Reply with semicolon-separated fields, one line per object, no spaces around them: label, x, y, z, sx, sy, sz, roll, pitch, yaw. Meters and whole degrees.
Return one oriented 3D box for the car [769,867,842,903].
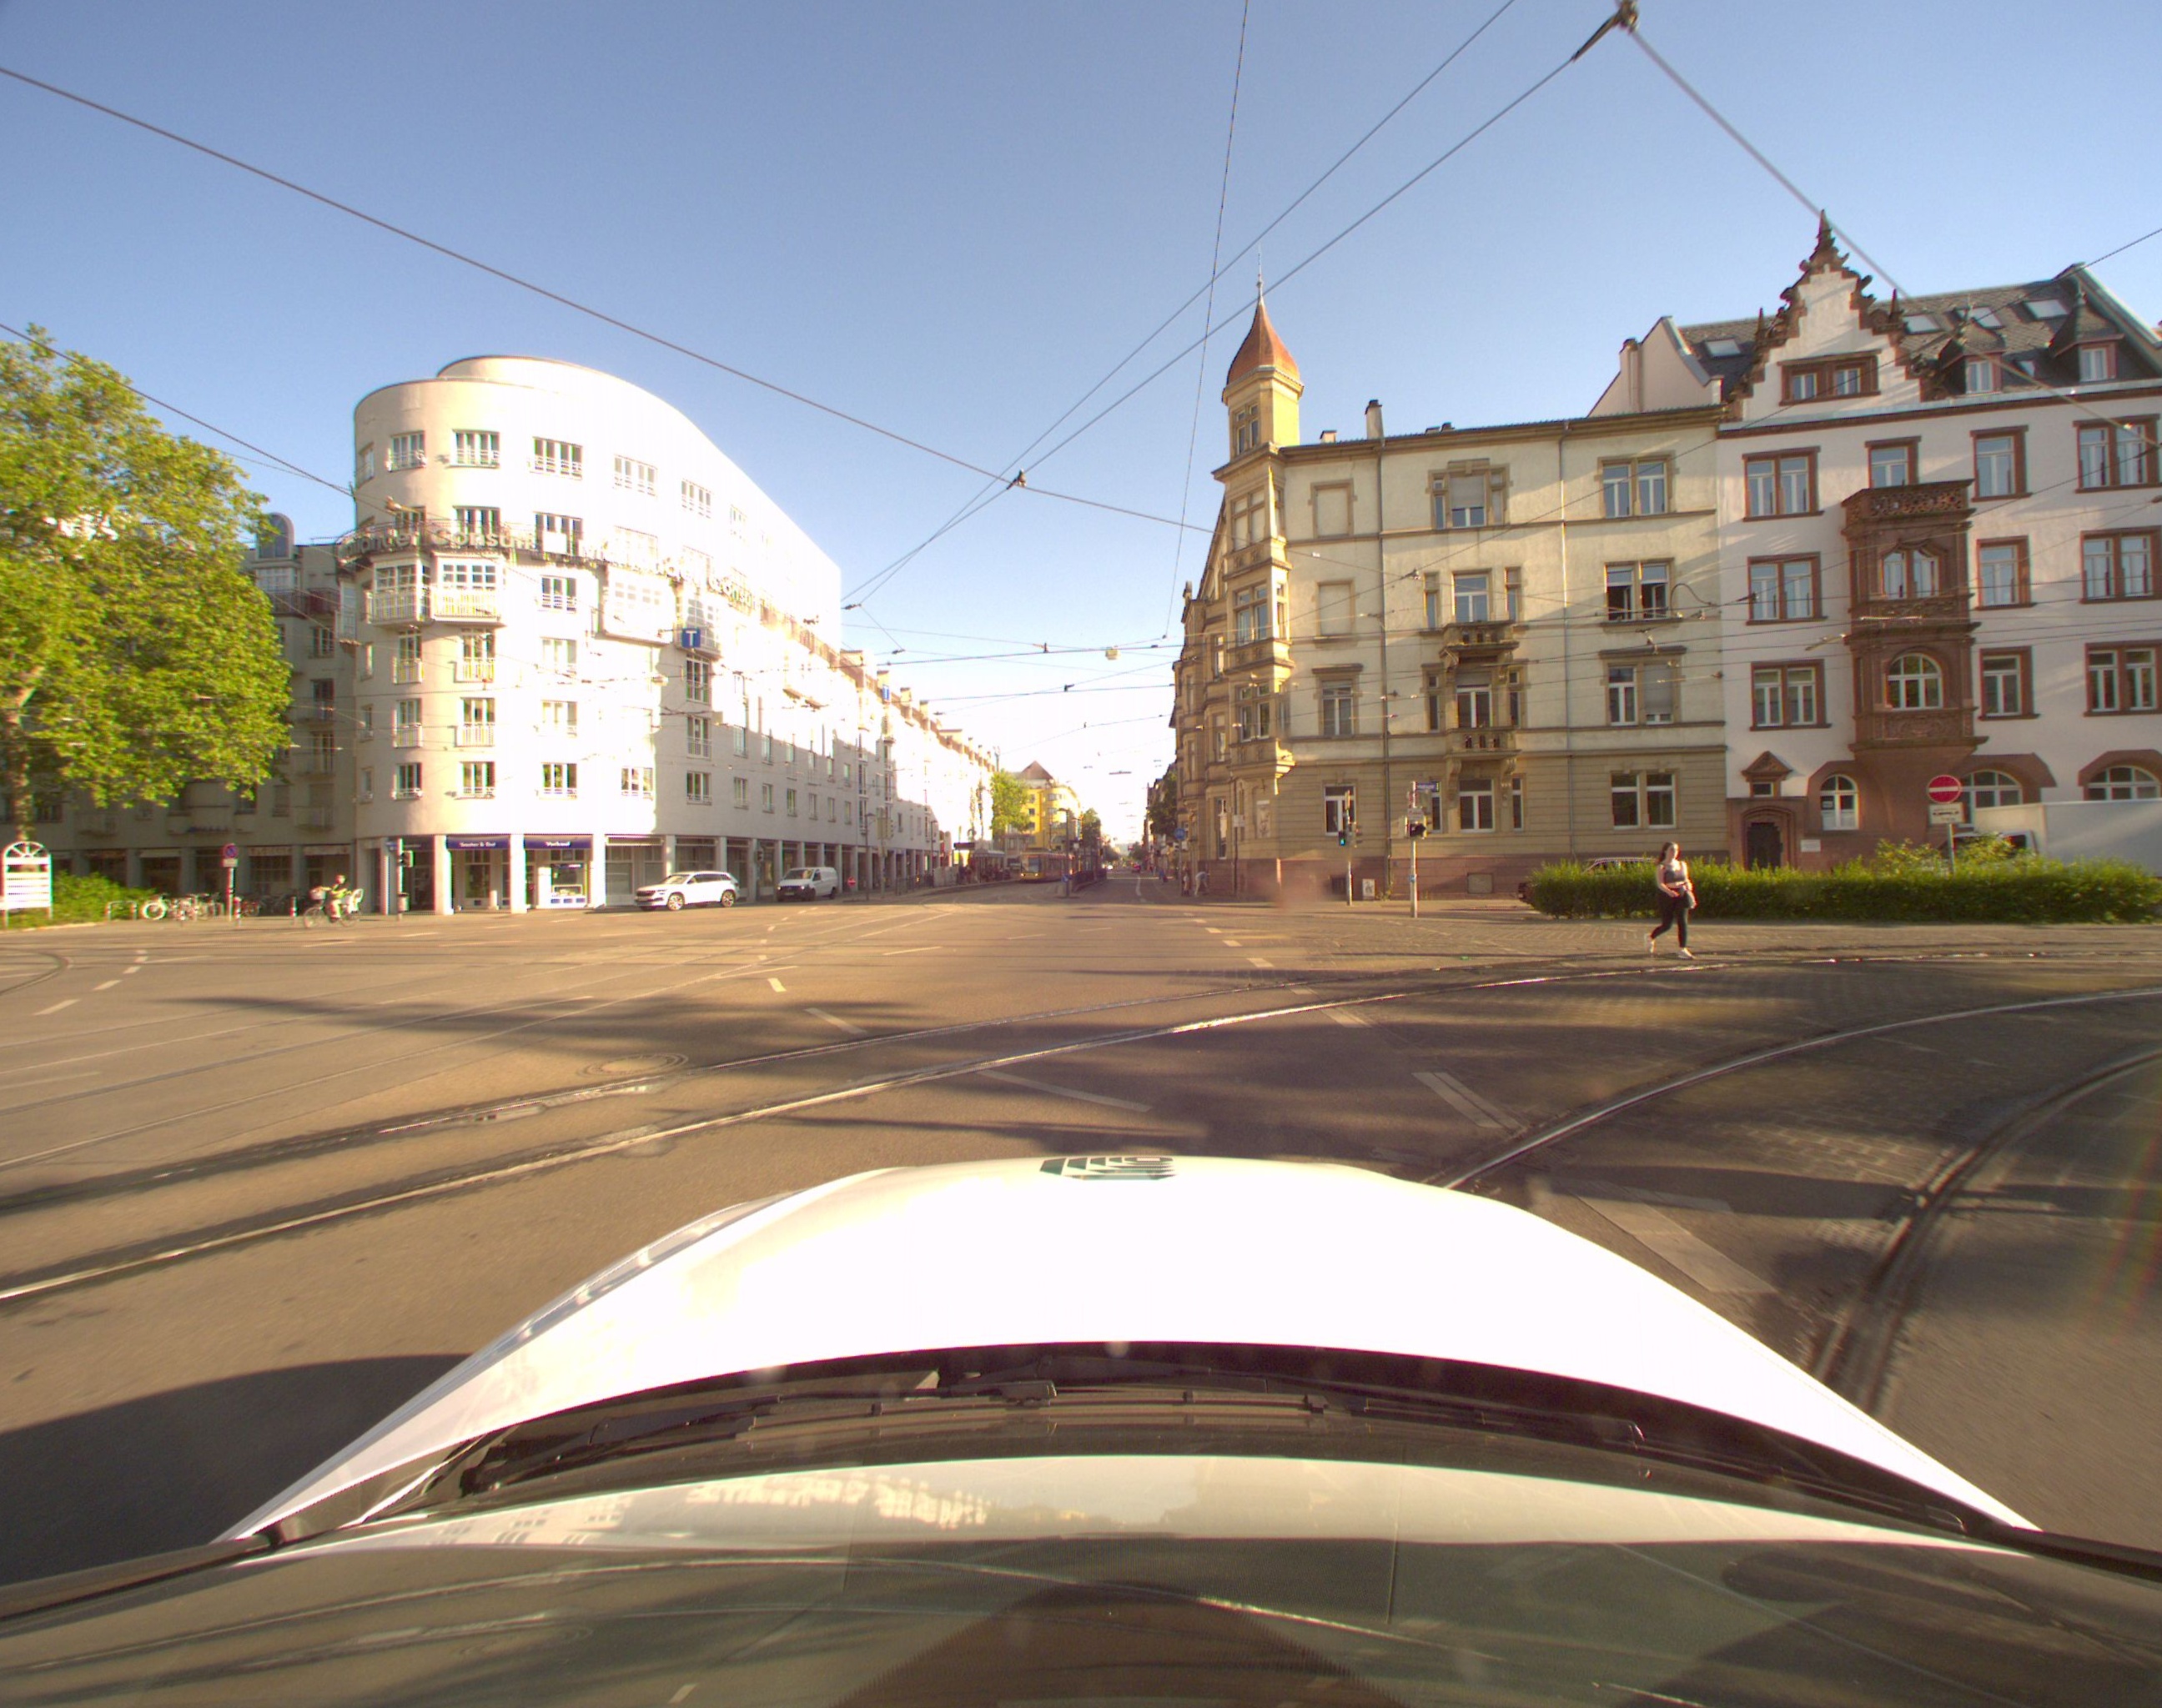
car;-15.271;1.653;45.433;1.985;1.838;5.350;-1;-1;3

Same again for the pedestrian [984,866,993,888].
pedestrian;-8.221;2.027;72.254;0.693;1.905;0.672;-1;-2;1

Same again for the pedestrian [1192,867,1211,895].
pedestrian;5.894;1.318;39.776;0.791;1.331;0.720;-2;-2;2

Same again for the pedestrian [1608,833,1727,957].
pedestrian;9.028;0.610;12.587;1.019;1.807;1.083;-1;-1;0

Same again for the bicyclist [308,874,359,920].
bicyclist;-24.678;1.412;26.886;0.836;1.467;0.898;-1;-1;6

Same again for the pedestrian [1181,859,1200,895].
pedestrian;5.436;1.151;40.566;0.791;1.721;0.720;-2;-2;2

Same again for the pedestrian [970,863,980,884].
pedestrian;-8.628;1.572;66.382;0.698;1.691;0.667;0;-2;-20

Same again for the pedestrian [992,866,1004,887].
pedestrian;-7.577;2.084;74.200;0.928;1.905;0.881;-1;-2;1

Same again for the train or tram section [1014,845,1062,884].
train or tram section;-4.284;1.099;84.535;2.872;3.490;14.184;-3;-1;5

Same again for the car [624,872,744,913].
car;-17.279;1.640;35.679;1.976;1.620;4.534;-2;-1;22

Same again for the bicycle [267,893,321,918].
bicycle;-37.761;2.470;39.088;1.932;1.107;0.820;-1;-1;6

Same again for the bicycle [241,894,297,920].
bicycle;-37.740;2.457;37.853;1.931;1.107;0.821;-1;-1;8

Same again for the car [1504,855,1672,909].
car;16.448;0.901;26.650;4.230;1.632;1.951;-1;-1;11

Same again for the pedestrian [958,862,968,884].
pedestrian;-9.015;1.463;62.110;0.596;1.692;0.614;-1;-2;3

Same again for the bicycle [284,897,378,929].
bicycle;-24.667;1.922;26.863;0.836;0.927;2.269;-1;-1;6

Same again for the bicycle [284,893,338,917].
bicycle;-37.773;2.479;39.959;1.932;1.107;0.820;-1;-1;6

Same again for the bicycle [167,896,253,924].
bicycle;-37.608;2.415;35.203;2.436;1.107;0.934;-1;-1;-11

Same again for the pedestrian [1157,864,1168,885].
pedestrian;6.696;1.679;67.049;0.759;1.645;0.833;-3;-1;3

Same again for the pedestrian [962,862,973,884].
pedestrian;-8.973;1.515;64.200;0.523;1.733;0.756;1;-2;-45

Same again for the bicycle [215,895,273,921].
bicycle;-37.888;2.448;36.871;1.931;1.107;0.821;-1;-1;8

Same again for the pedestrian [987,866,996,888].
pedestrian;-8.021;2.044;72.804;0.693;1.905;0.672;-1;-2;1

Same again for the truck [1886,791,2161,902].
truck;29.659;-0.211;24.471;8.014;3.080;2.335;-1;-1;7

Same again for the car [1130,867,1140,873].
car;11.753;3.482;176.845;1.985;1.449;4.003;0;-1;3

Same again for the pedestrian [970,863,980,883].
pedestrian;-8.896;1.613;68.192;0.698;1.691;0.667;0;-2;-20

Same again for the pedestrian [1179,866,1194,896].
pedestrian;6.545;1.681;50.533;0.797;1.824;0.798;-3;-1;3

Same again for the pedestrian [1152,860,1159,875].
pedestrian;9.291;1.644;101.551;0.711;1.774;0.773;-4;0;0

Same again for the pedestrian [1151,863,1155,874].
pedestrian;11.953;2.473;135.844;0.556;1.796;0.652;-1;-1;10

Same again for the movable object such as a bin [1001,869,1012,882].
movable object such as a bin;-7.379;2.158;80.487;0.934;1.287;0.935;-1;-2;1
